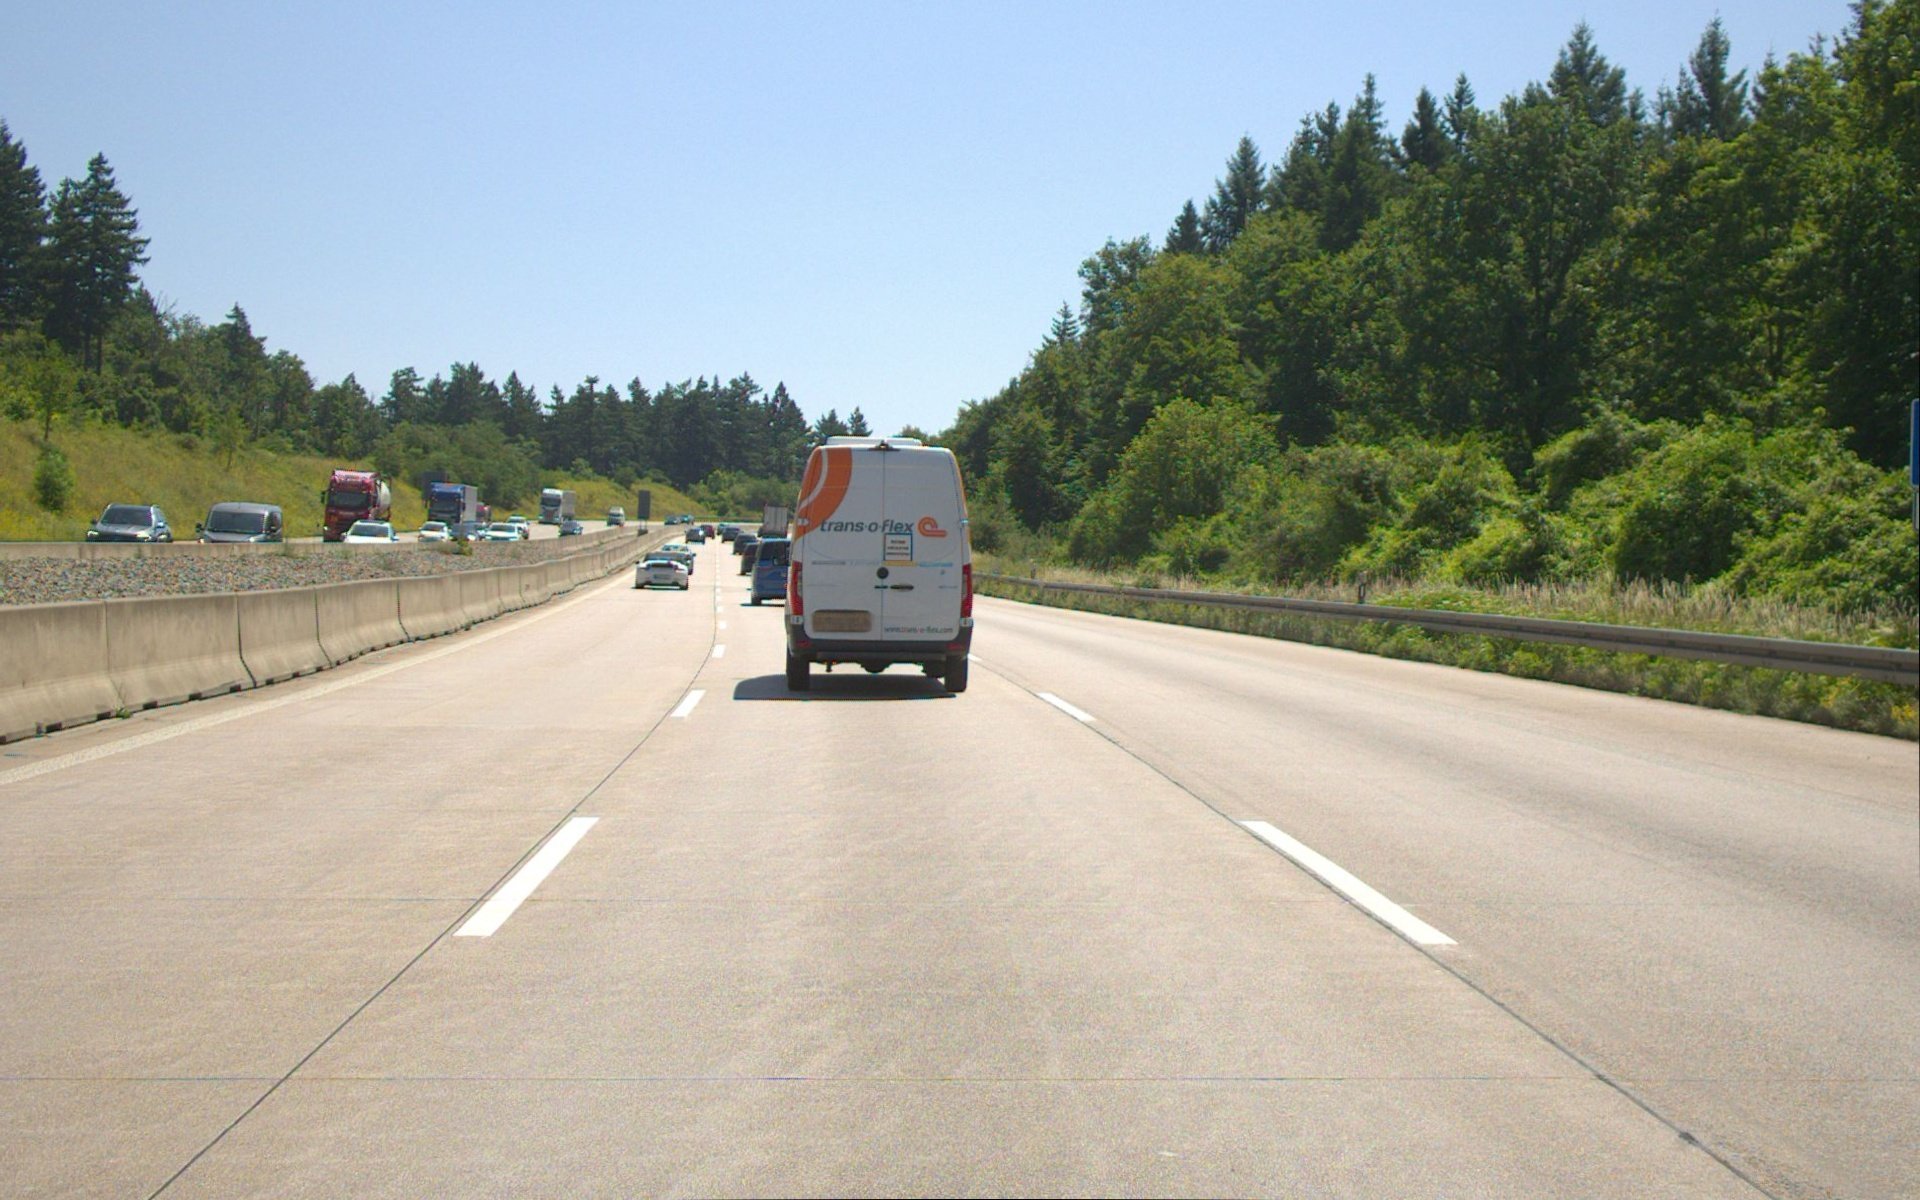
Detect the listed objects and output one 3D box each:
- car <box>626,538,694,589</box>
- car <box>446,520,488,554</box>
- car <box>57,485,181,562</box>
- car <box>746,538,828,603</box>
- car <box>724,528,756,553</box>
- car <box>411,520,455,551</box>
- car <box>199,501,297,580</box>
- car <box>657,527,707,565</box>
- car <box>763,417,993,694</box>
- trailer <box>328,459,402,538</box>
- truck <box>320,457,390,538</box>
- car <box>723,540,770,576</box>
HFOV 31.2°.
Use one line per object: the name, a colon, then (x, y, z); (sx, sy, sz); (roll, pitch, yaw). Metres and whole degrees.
car: (-10.585, -1.295, 121.435); (1.993, 1.678, 4.000); (3, 1, 0)
car: (-28.647, -3.674, 199.853); (1.993, 1.866, 4.969); (3, 1, -4)
car: (-22.831, -2.068, 93.505); (2.283, 2.007, 4.803); (1, 1, -1)
car: (-4.798, -0.821, 95.844); (1.993, 1.678, 4.000); (3, 1, 0)
car: (-15.865, -4.260, 248.080); (1.993, 1.678, 4.000); (3, 1, 0)
car: (-29.399, -3.600, 191.834); (1.993, 1.577, 4.180); (3, 1, -4)
car: (-18.678, -1.572, 90.347); (1.993, 2.007, 4.461); (0, 1, -5)
car: (-13.151, -2.561, 162.780); (1.993, 1.678, 4.000); (3, 1, 0)
car: (-1.004, -0.533, 38.417); (2.226, 2.834, 5.455); (1, 1, -5)
trailer: (-33.284, -5.620, 192.477); (2.933, 4.154, 9.336); (3, 1, -4)
truck: (-32.933, -5.543, 187.214); (2.933, 4.154, 5.983); (3, 1, -4)
car: (-10.499, -2.059, 169.242); (1.993, 1.678, 4.000); (3, 1, 0)
